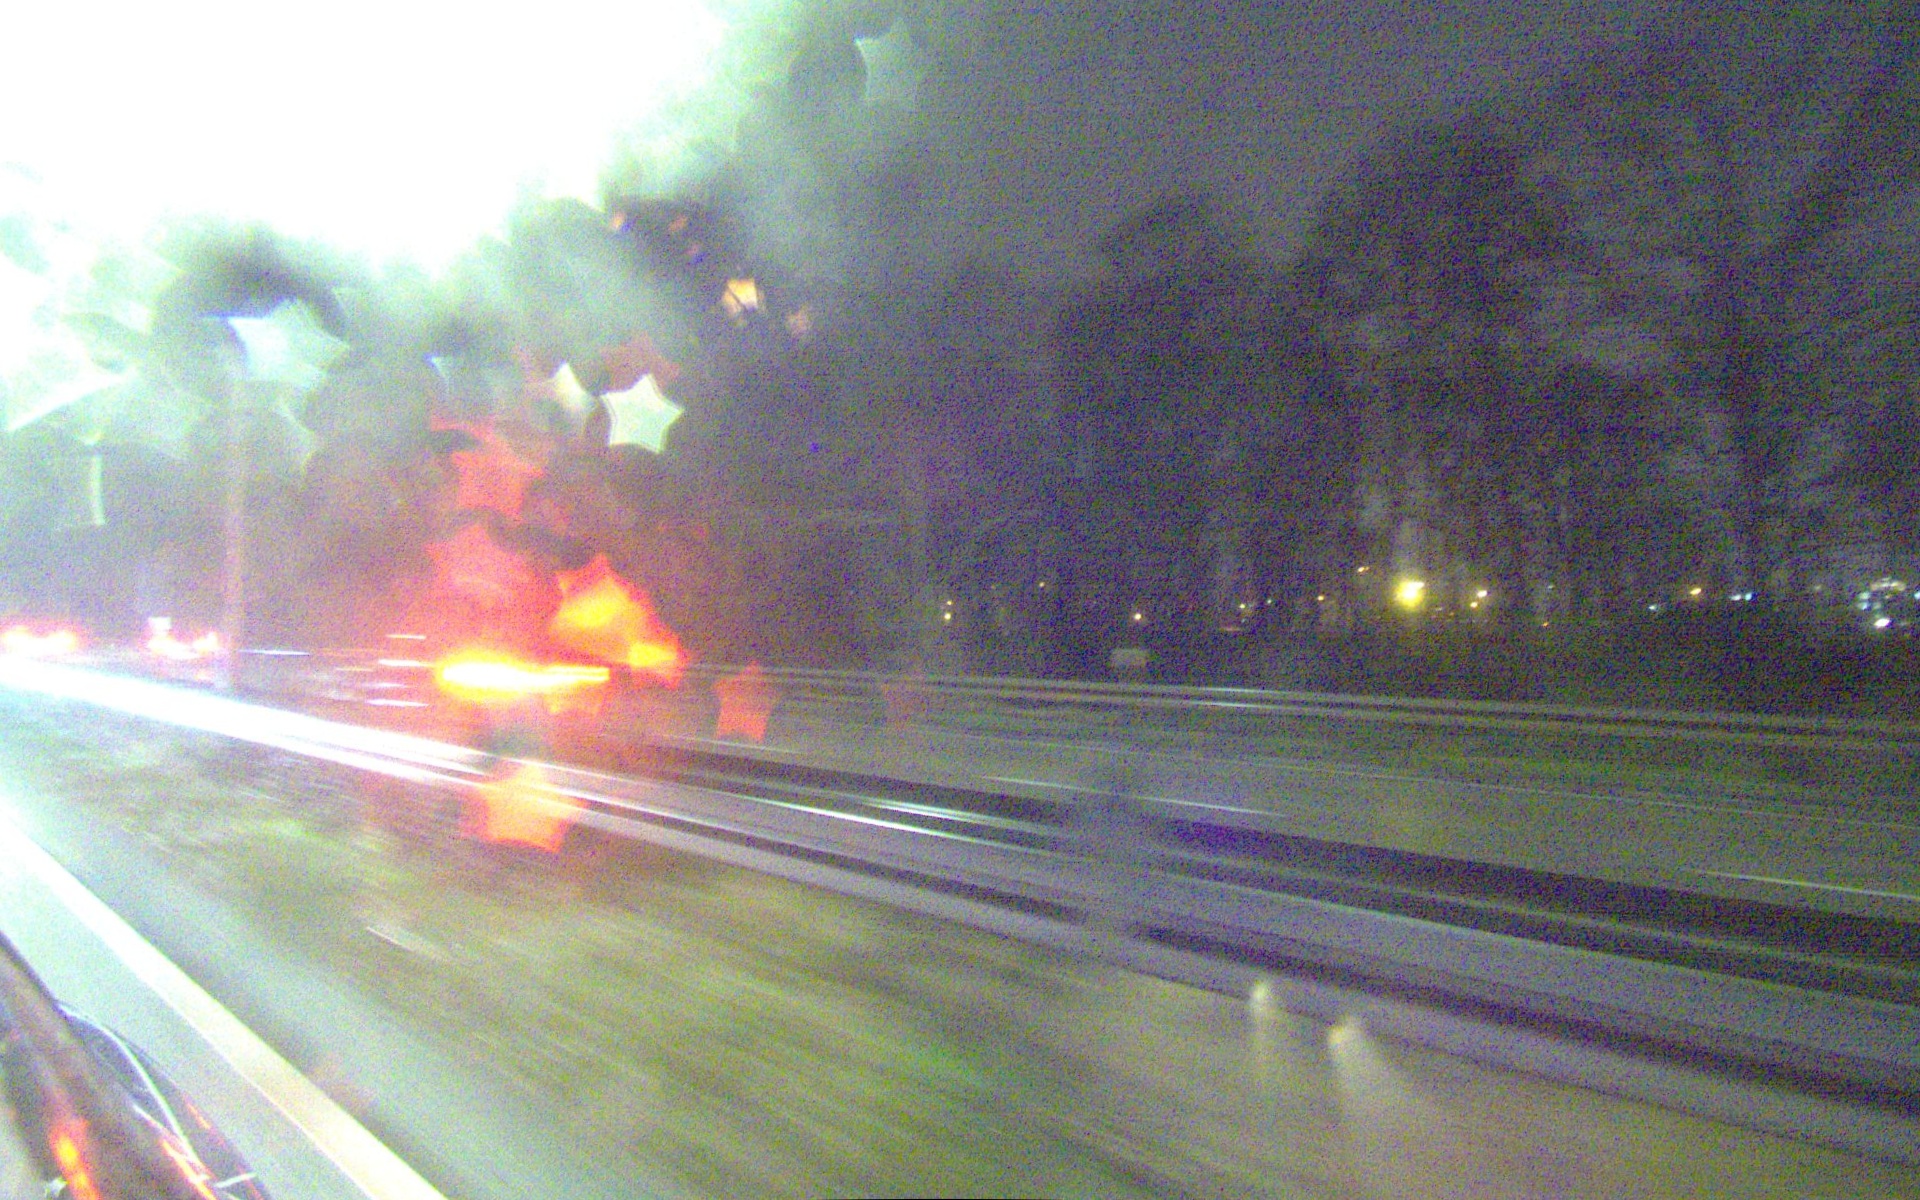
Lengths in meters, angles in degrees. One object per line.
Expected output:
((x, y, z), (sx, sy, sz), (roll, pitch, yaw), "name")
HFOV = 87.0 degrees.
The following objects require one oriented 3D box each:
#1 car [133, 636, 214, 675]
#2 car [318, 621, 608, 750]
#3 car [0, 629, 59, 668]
((-29.702, 2.076, 38.165), (4.161, 1.392, 1.594), (-2, -4, 41), "car")
((-6.994, 1.056, 13.997), (4.775, 1.487, 1.837), (-1, -2, 40), "car")
((-36.060, 1.813, 38.825), (4.743, 1.392, 1.594), (-2, -2, 41), "car")
